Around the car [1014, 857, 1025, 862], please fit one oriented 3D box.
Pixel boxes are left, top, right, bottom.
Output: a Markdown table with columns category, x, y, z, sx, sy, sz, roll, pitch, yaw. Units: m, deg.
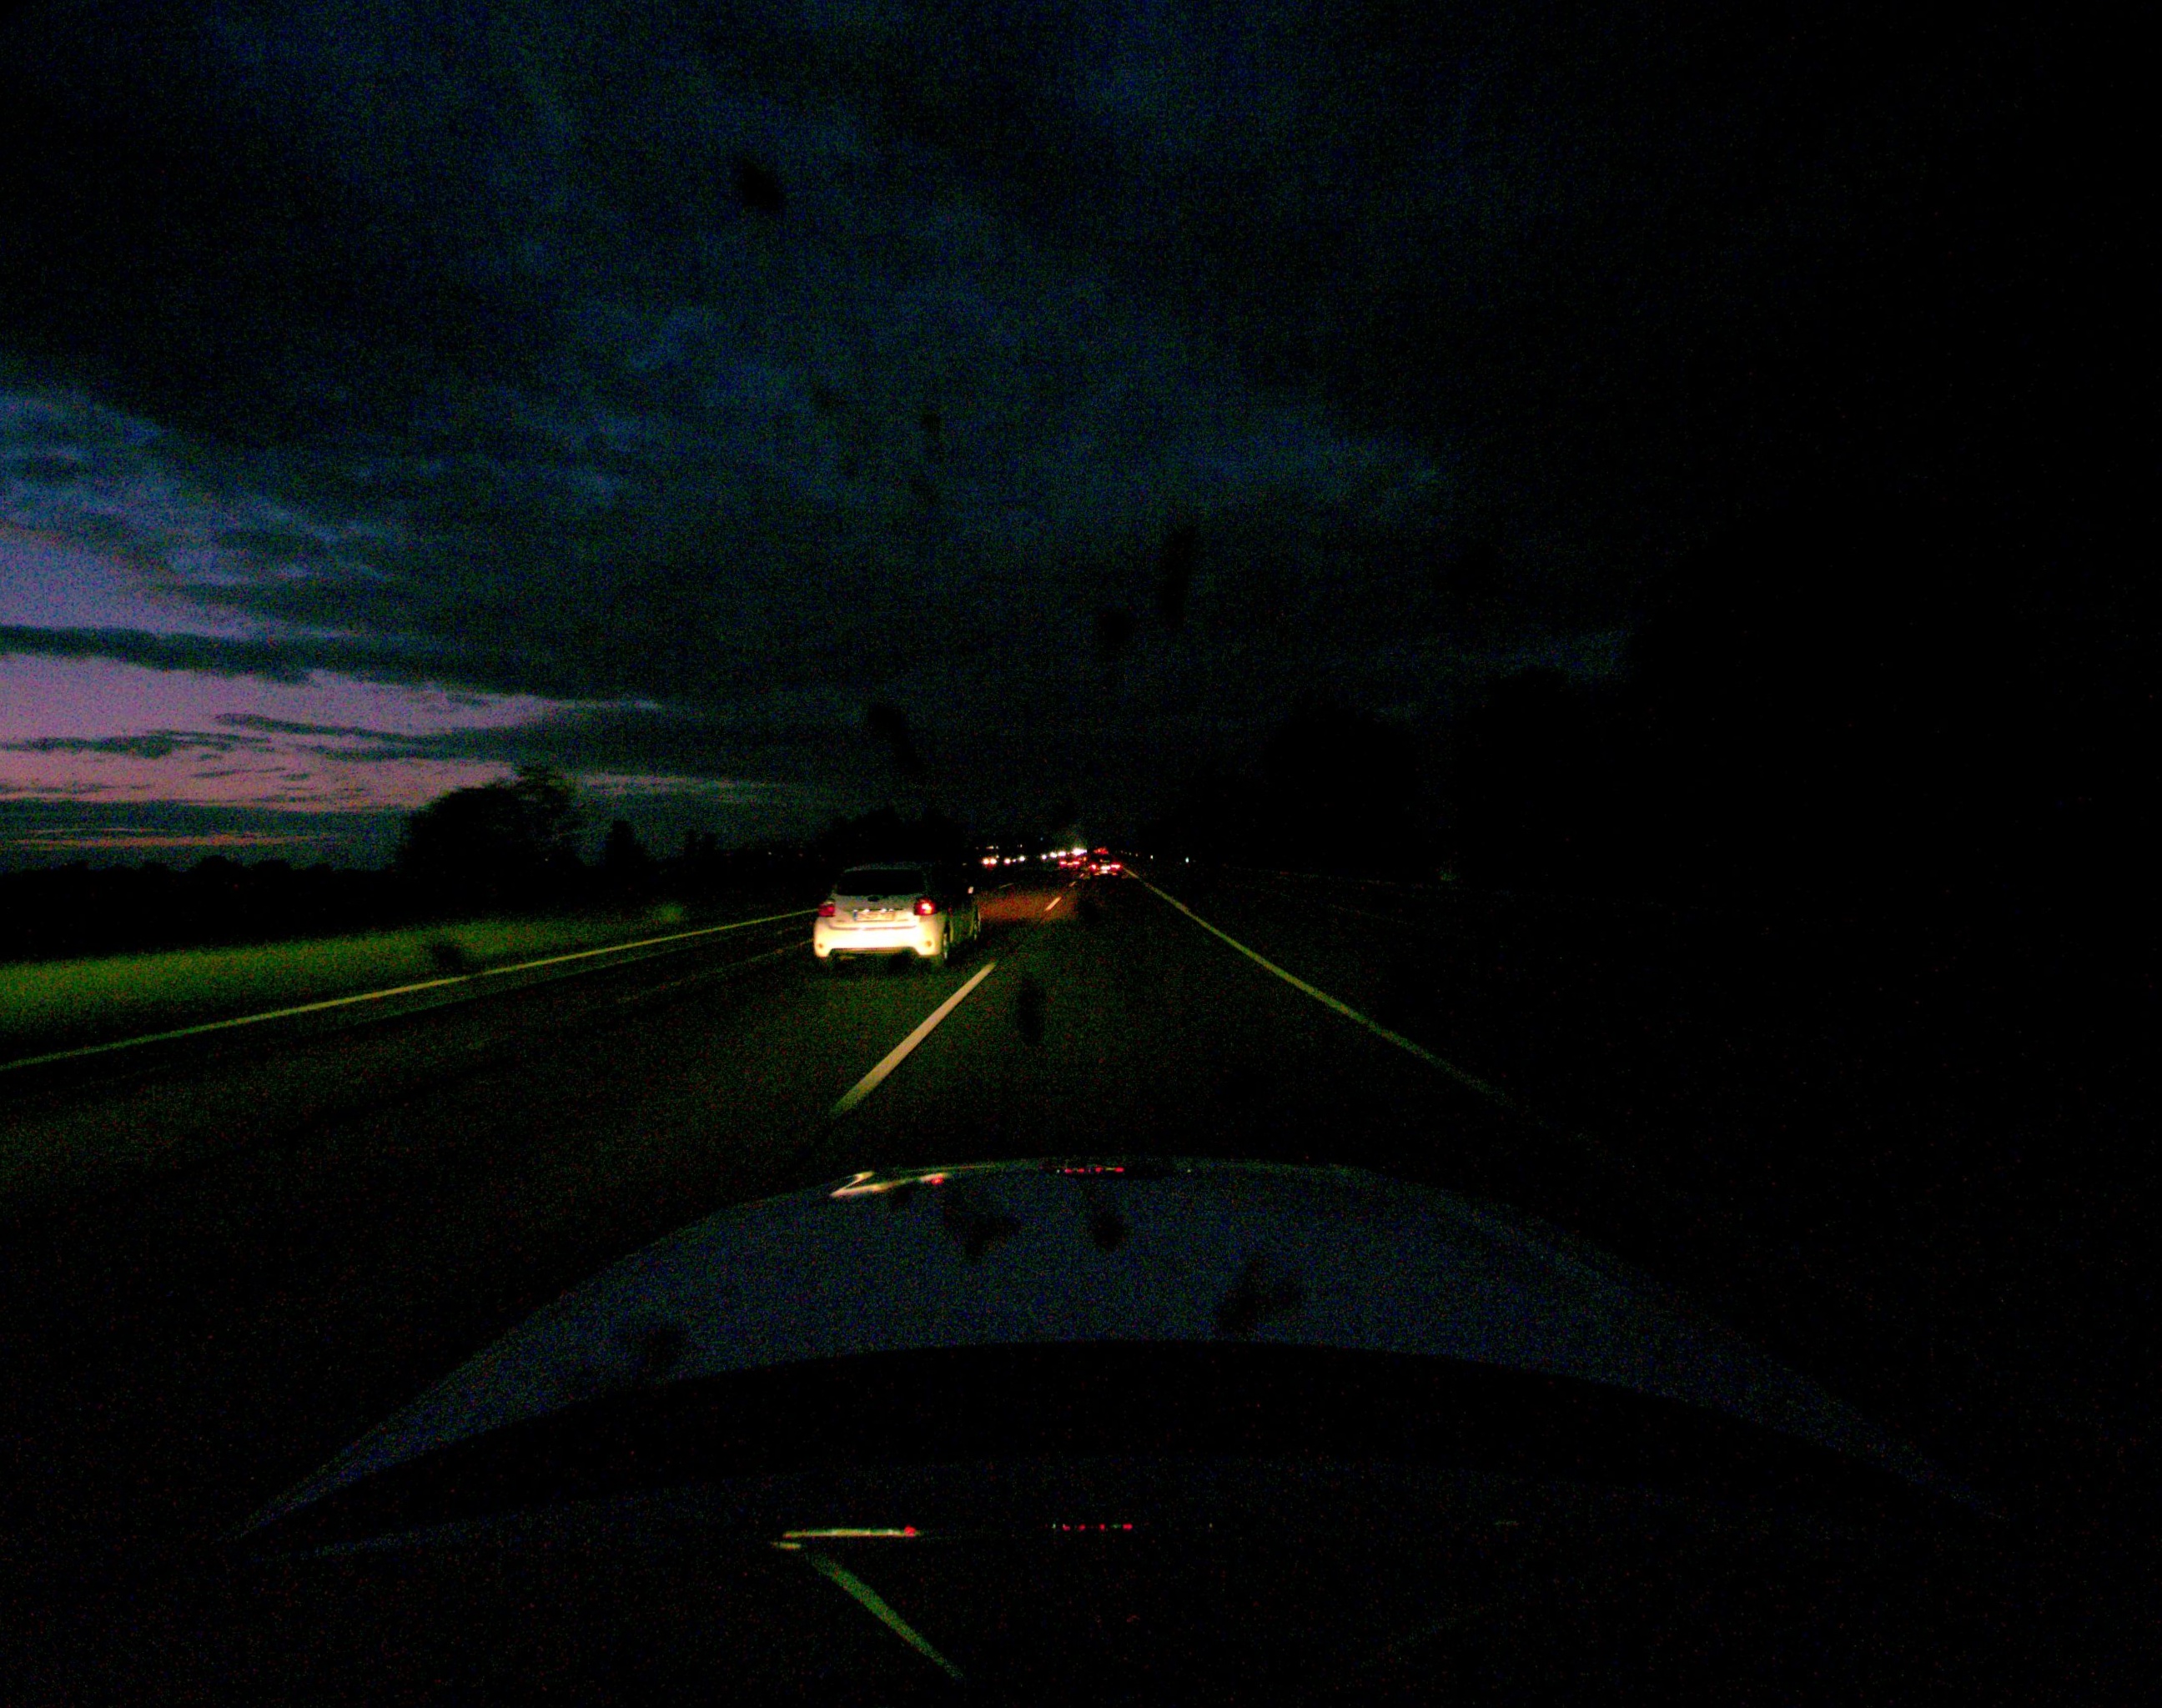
| category | x | y | z | sx | sy | sz | roll | pitch | yaw |
| --- | --- | --- | --- | --- | --- | --- | --- | --- | --- |
| car | -13.840 | 1.289 | 183.323 | 1.924 | 1.178 | 4.001 | 0 | 0 | 1 |

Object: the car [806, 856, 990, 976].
| category | x | y | z | sx | sy | sz | roll | pitch | yaw |
| --- | --- | --- | --- | --- | --- | --- | --- | --- | --- |
| car | -2.598 | 0.814 | 12.677 | 1.738 | 1.525 | 4.416 | 0 | -1 | 2 |

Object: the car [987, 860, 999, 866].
| category | x | y | z | sx | sy | sz | roll | pitch | yaw |
| --- | --- | --- | --- | --- | --- | --- | --- | --- | --- |
| car | -17.651 | 1.843 | 163.641 | 1.712 | 1.178 | 4.001 | 0 | 0 | 1 |

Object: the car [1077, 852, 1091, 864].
| category | x | y | z | sx | sy | sz | roll | pitch | yaw |
| --- | --- | --- | --- | --- | --- | --- | --- | --- | --- |
| car | 0.499 | 0.589 | 126.127 | 2.191 | 1.879 | 4.001 | 0 | -1 | 1 |

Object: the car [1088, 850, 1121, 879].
| category | x | y | z | sx | sy | sz | roll | pitch | yaw |
| --- | --- | --- | --- | --- | --- | --- | --- | --- | --- |
| car | 1.416 | 0.629 | 48.788 | 1.873 | 1.643 | 4.001 | 0 | -1 | 1 |

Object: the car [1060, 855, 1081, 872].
| category | x | y | z | sx | sy | sz | roll | pitch | yaw |
| --- | --- | --- | --- | --- | --- | --- | --- | --- | --- |
| car | -0.960 | 0.875 | 75.336 | 1.874 | 1.552 | 4.000 | 0 | -1 | 1 |

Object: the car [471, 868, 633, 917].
| category | x | y | z | sx | sy | sz | roll | pitch | yaw |
| --- | --- | --- | --- | --- | --- | --- | --- | --- | --- |
| car | -14.774 | 1.036 | 23.056 | 1.856 | 1.204 | 4.002 | 0 | 0 | 2 |

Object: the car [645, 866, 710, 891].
| category | x | y | z | sx | sy | sz | roll | pitch | yaw |
| --- | --- | --- | --- | --- | --- | --- | --- | --- | --- |
| car | -21.082 | 1.258 | 42.736 | 1.531 | 1.191 | 3.611 | 0 | 0 | 2 |

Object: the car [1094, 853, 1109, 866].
| category | x | y | z | sx | sy | sz | roll | pitch | yaw |
| --- | --- | --- | --- | --- | --- | --- | --- | --- | --- |
| car | 2.483 | 0.686 | 99.384 | 1.874 | 1.552 | 4.000 | 0 | -1 | 1 |
